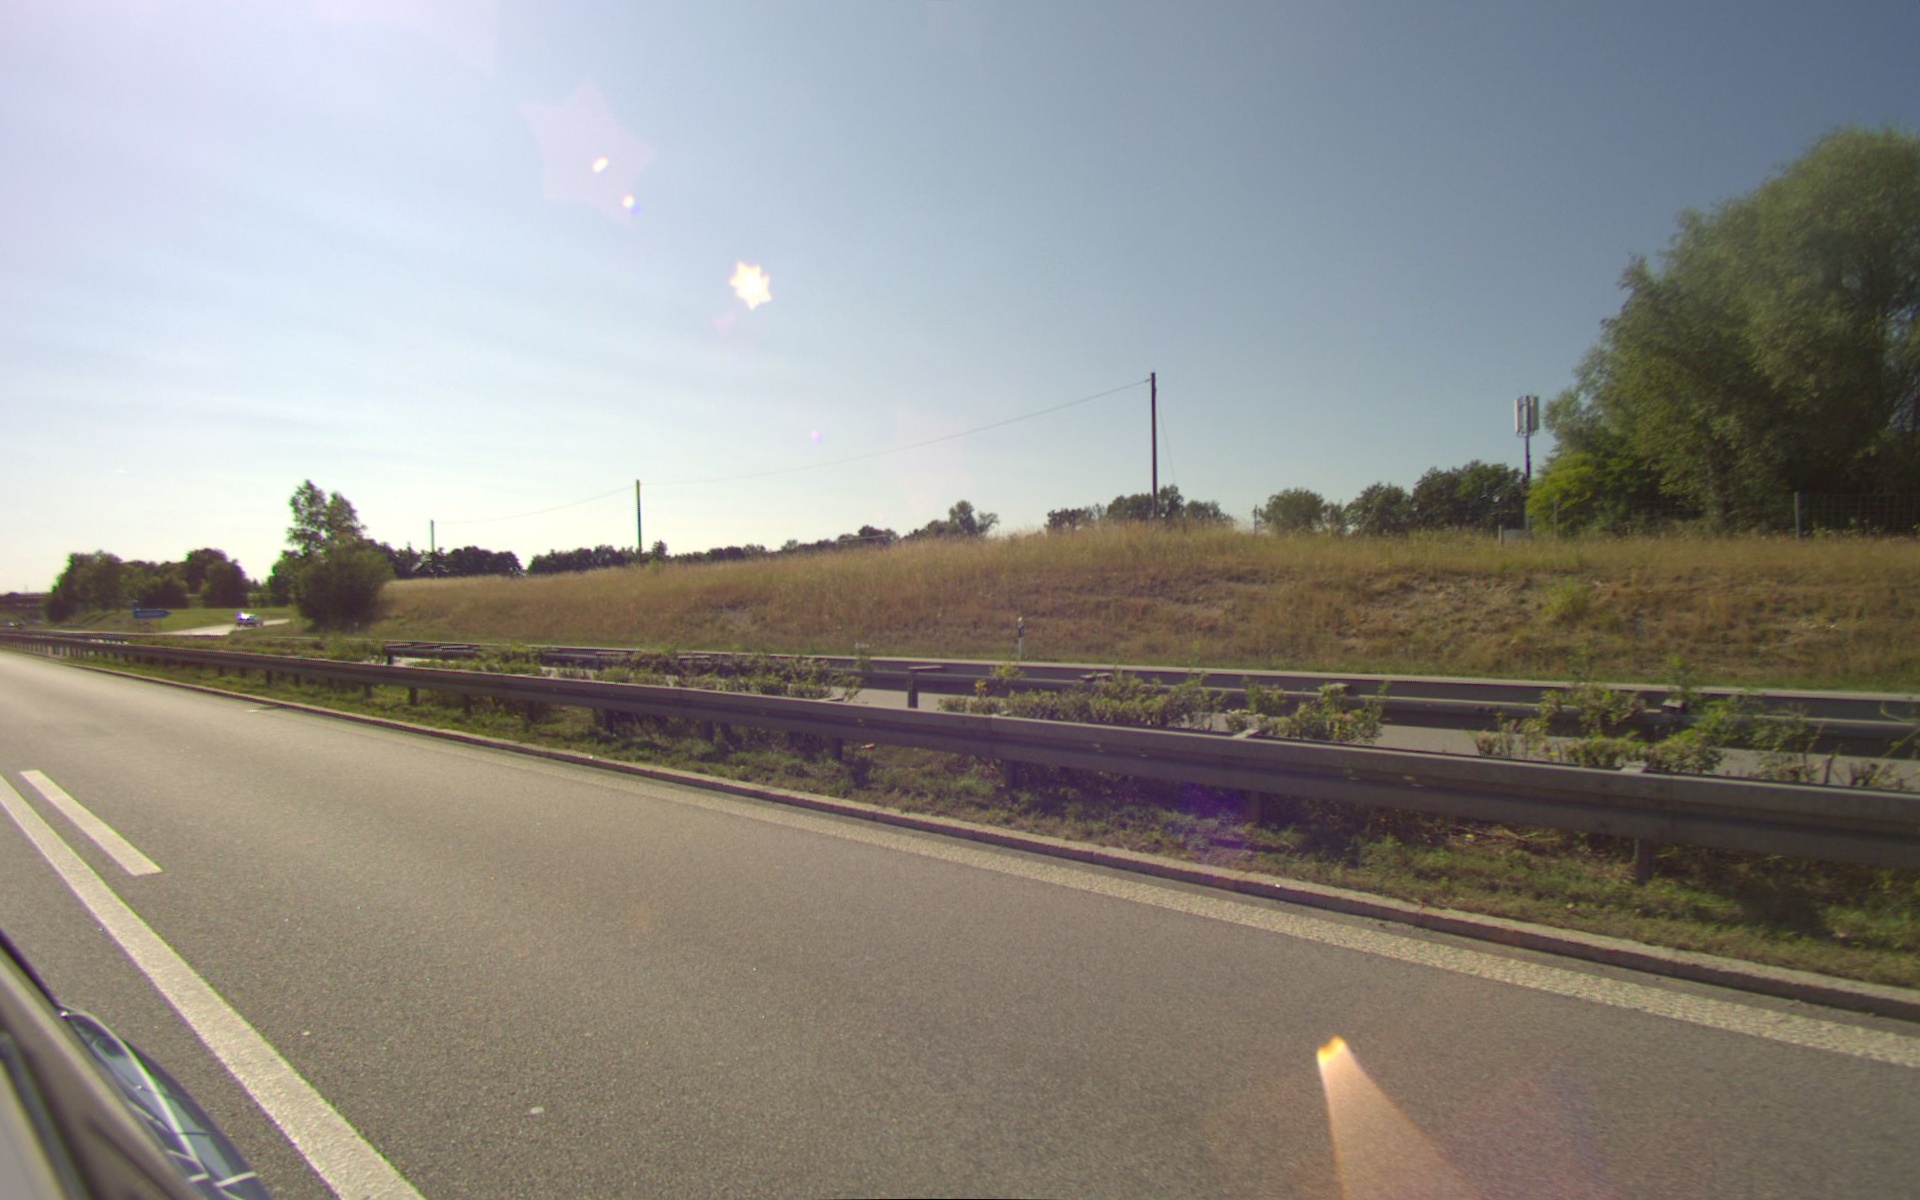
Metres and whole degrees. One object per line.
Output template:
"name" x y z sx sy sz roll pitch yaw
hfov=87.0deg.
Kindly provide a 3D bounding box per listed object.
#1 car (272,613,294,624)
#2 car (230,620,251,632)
"car" -94.701 2.599 141.538 1.644 1.386 4.013 -1 0 -19
"car" -83.677 3.021 117.711 1.644 1.386 4.012 -1 0 -31
